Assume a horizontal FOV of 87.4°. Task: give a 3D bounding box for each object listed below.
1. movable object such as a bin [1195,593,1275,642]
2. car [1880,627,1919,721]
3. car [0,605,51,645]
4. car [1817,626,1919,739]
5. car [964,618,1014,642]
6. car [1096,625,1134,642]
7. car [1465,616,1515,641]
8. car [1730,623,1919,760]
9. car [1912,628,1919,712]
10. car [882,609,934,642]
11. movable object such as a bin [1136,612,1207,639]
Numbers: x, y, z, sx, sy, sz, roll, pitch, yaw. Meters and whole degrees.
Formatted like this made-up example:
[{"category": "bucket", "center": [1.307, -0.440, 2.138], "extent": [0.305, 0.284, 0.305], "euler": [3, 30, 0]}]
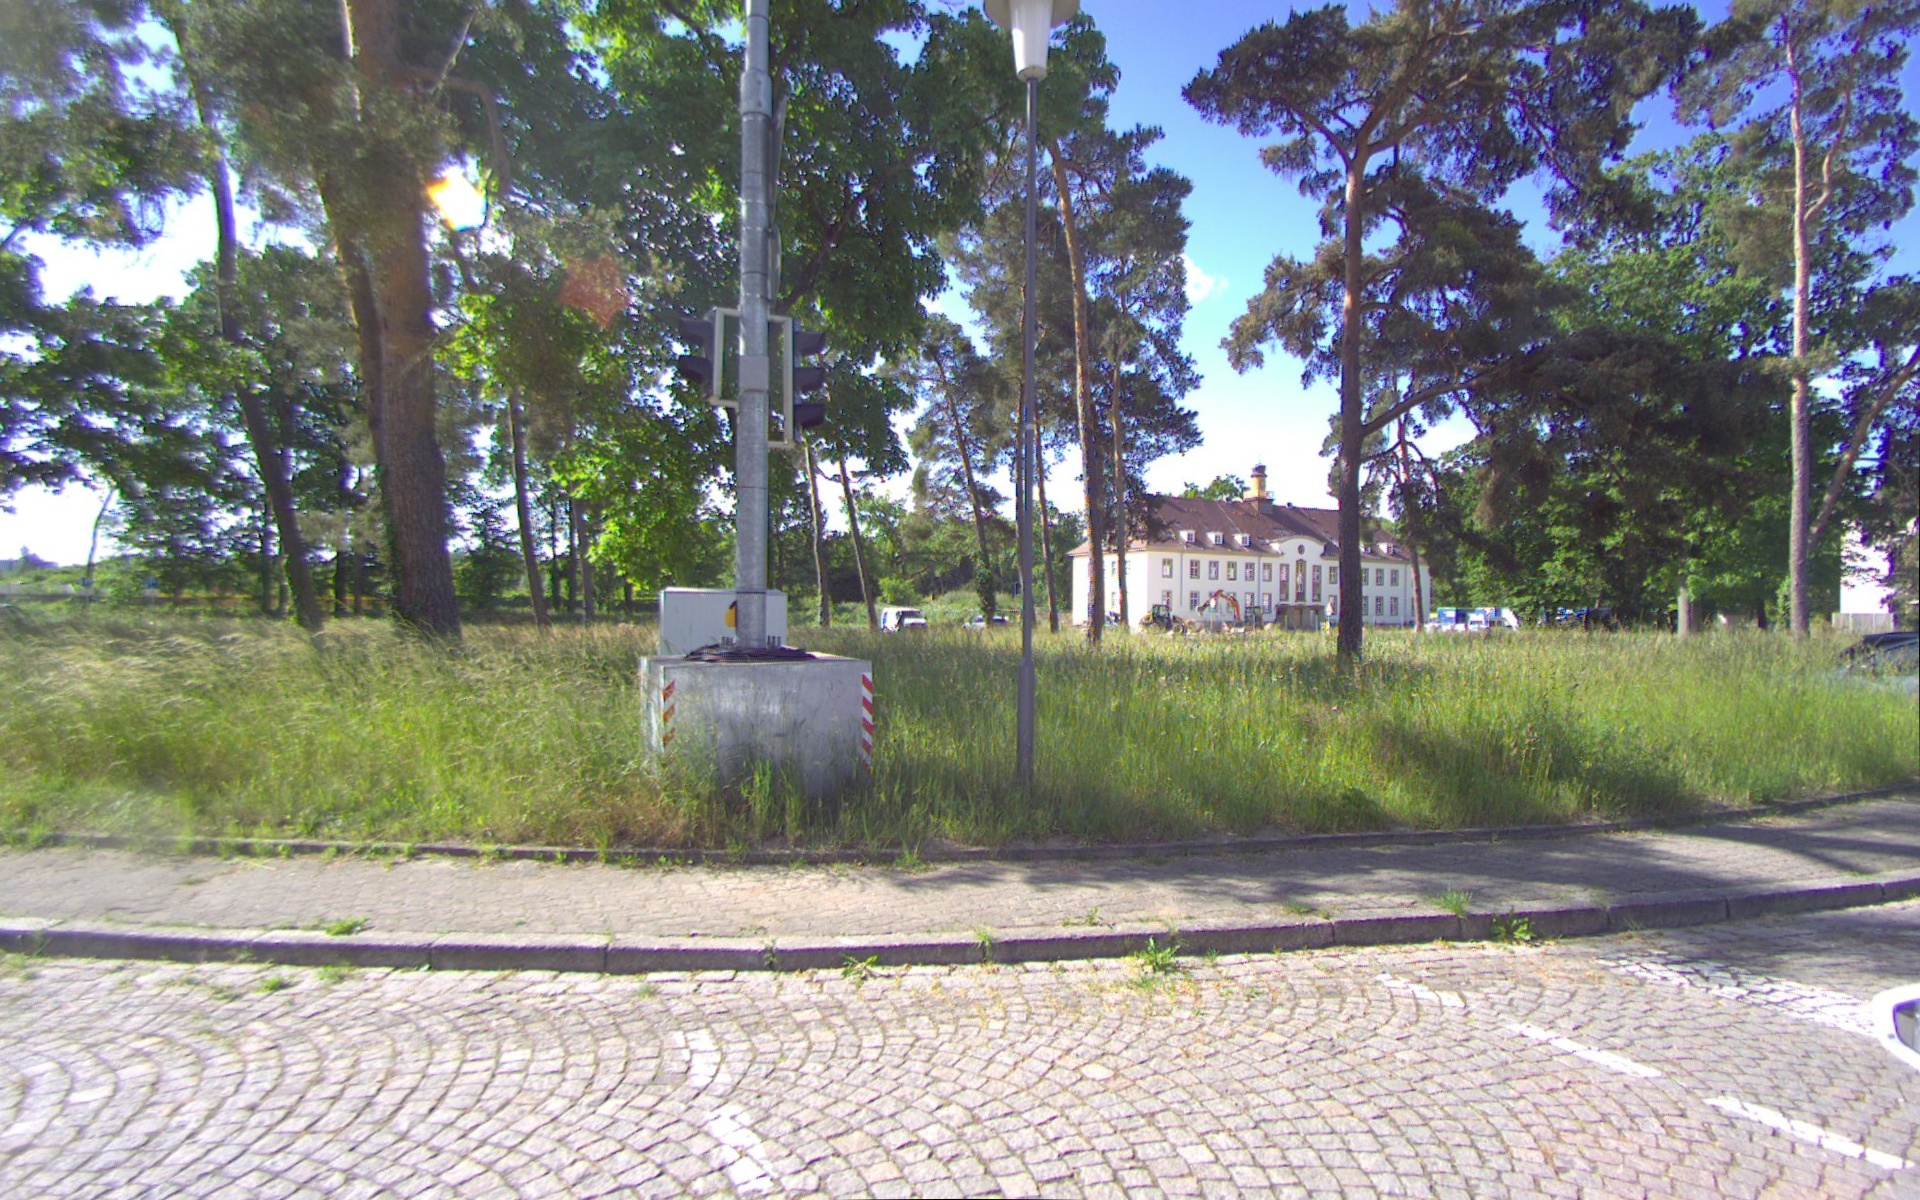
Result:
[{"category": "movable object such as a bin", "center": [22.246, 1.450, 81.028], "extent": [3.871, 3.780, 6.761], "euler": [0, -2, 39]}, {"category": "car", "center": [16.584, 1.220, 14.243], "extent": [1.913, 1.440, 4.849], "euler": [2, 0, -26]}, {"category": "car", "center": [-41.141, 1.080, 43.209], "extent": [1.815, 1.651, 4.036], "euler": [1, -2, -24]}, {"category": "car", "center": [14.254, 1.159, 12.895], "extent": [1.961, 1.471, 4.560], "euler": [2, 0, -29]}, {"category": "car", "center": [2.048, 2.144, 71.953], "extent": [1.887, 1.626, 4.216], "euler": [1, -1, -25]}, {"category": "car", "center": [17.655, 3.773, 114.602], "extent": [1.978, 1.879, 4.092], "euler": [2, -2, -38]}, {"category": "car", "center": [55.254, 2.985, 104.766], "extent": [5.207, 2.469, 1.978], "euler": [1, -1, -26]}, {"category": "car", "center": [11.883, 1.088, 11.861], "extent": [1.924, 1.503, 4.010], "euler": [0, 1, -28]}, {"category": "car", "center": [18.455, 1.262, 15.687], "extent": [1.913, 1.440, 4.849], "euler": [1, 0, -26]}, {"category": "car", "center": [-3.595, 1.726, 68.818], "extent": [1.931, 2.192, 4.832], "euler": [1, -1, -25]}, {"category": "movable object such as a bin", "center": [17.847, 2.135, 84.599], "extent": [5.567, 2.153, 2.529], "euler": [0, -1, 20]}]
